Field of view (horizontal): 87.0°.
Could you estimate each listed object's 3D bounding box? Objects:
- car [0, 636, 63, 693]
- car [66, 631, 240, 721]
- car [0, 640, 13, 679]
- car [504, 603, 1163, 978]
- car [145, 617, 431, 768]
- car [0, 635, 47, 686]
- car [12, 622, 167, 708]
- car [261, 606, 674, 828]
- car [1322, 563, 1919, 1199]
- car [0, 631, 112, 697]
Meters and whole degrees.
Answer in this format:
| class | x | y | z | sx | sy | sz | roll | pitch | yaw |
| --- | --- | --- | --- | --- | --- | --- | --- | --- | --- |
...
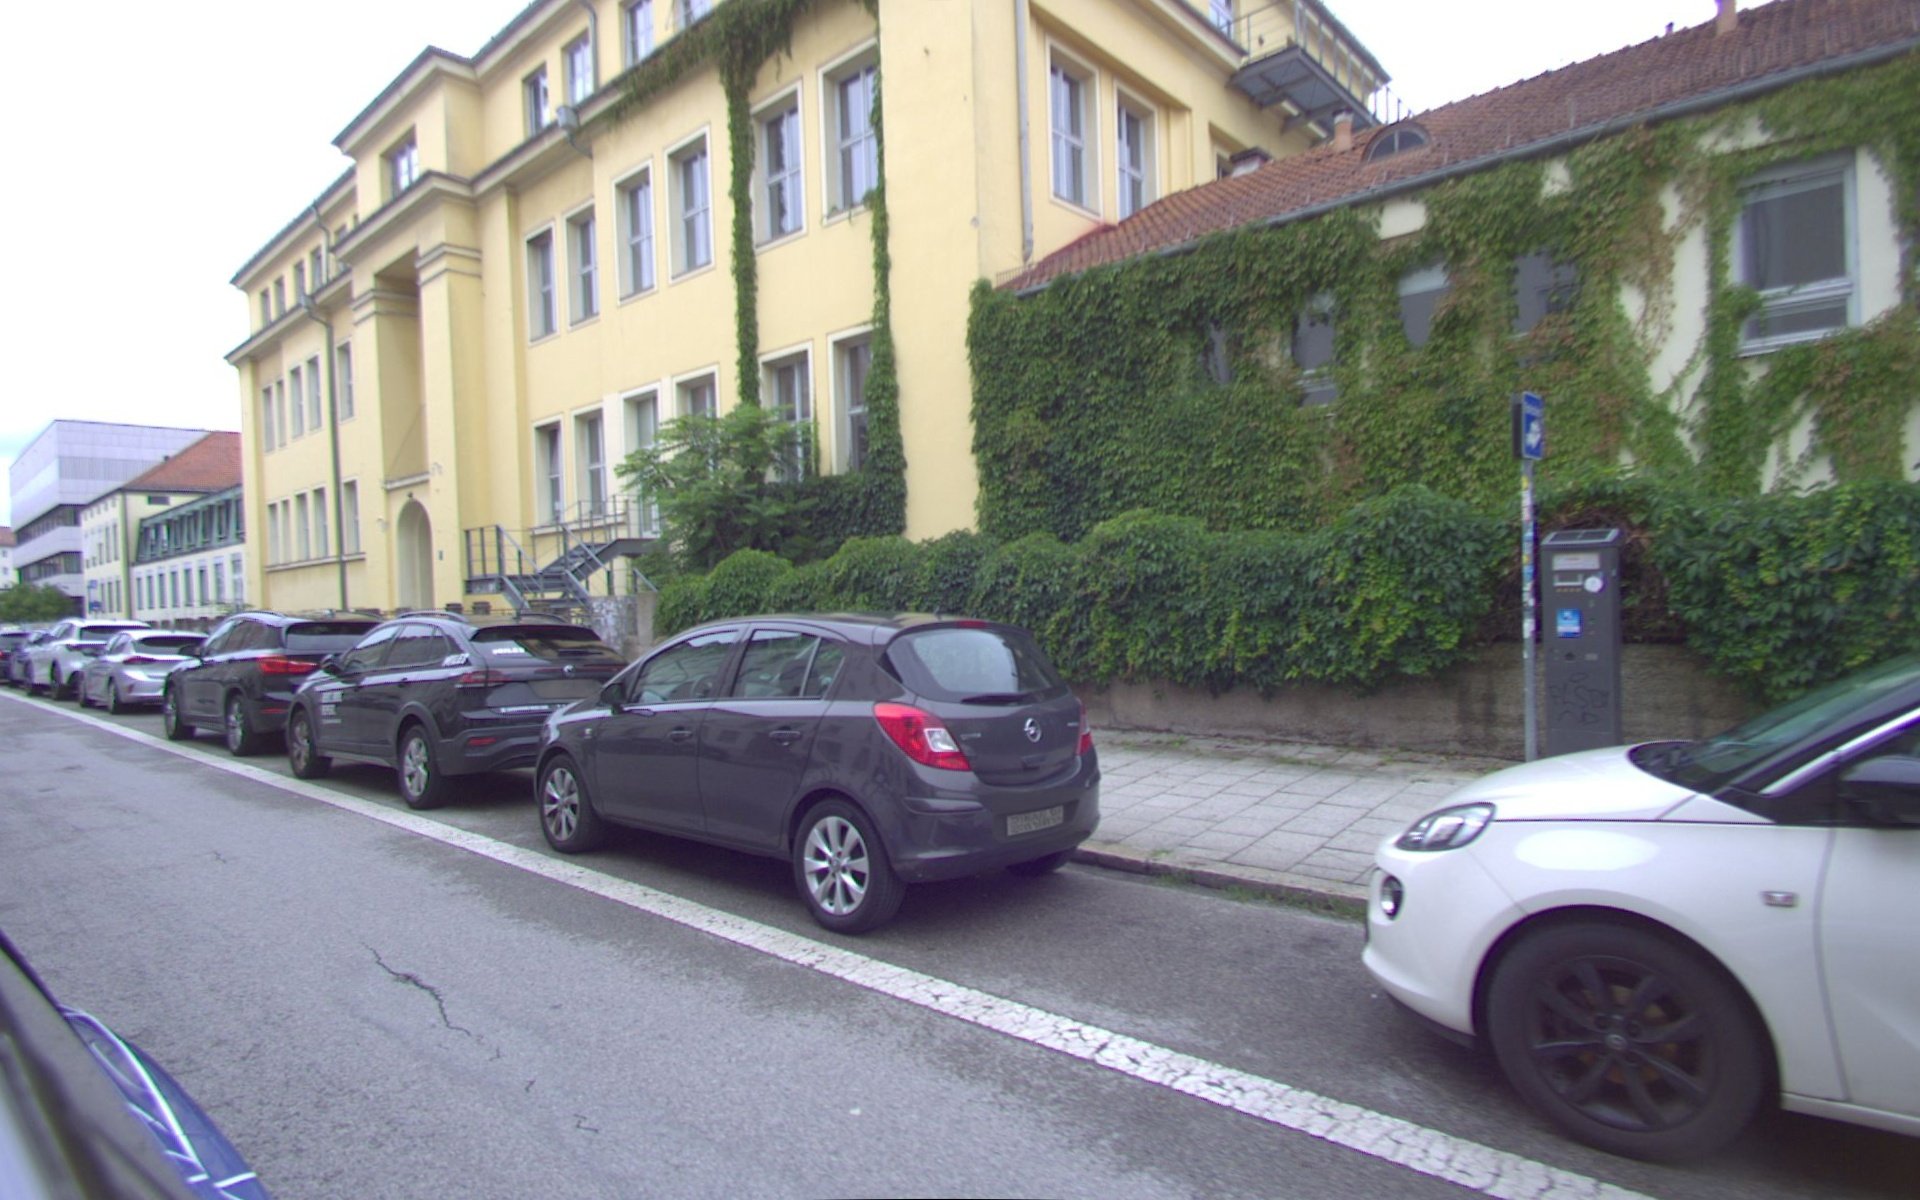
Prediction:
| class | x | y | z | sx | sy | sz | roll | pitch | yaw |
| --- | --- | --- | --- | --- | --- | --- | --- | --- | --- |
| car | -26.350 | 1.746 | 28.082 | 3.983 | 1.507 | 1.662 | -2 | -3 | 41 |
| car | -14.458 | 1.304 | 18.071 | 3.892 | 1.437 | 1.662 | -2 | -4 | 41 |
| car | -35.824 | 2.148 | 36.670 | 3.993 | 1.409 | 1.658 | -2 | -3 | 39 |
| car | -0.947 | 0.827 | 5.859 | 3.901 | 1.467 | 1.562 | -2 | -3 | 41 |
| car | -8.362 | 1.041 | 12.456 | 4.191 | 1.550 | 1.764 | -2 | -3 | 40 |
| car | -30.446 | 1.901 | 32.100 | 4.085 | 1.539 | 1.705 | -2 | -4 | 41 |
| car | -18.576 | 1.357 | 21.548 | 4.351 | 1.646 | 1.663 | -2 | -4 | 39 |
| car | -4.545 | 0.904 | 9.091 | 4.145 | 1.550 | 1.764 | -2 | -3 | 40 |
| car | 3.027 | 0.678 | 2.468 | 3.727 | 1.504 | 1.562 | -2 | -3 | 41 |
| car | -22.636 | 1.544 | 25.145 | 3.969 | 1.516 | 1.663 | -2 | -3 | 39 |
